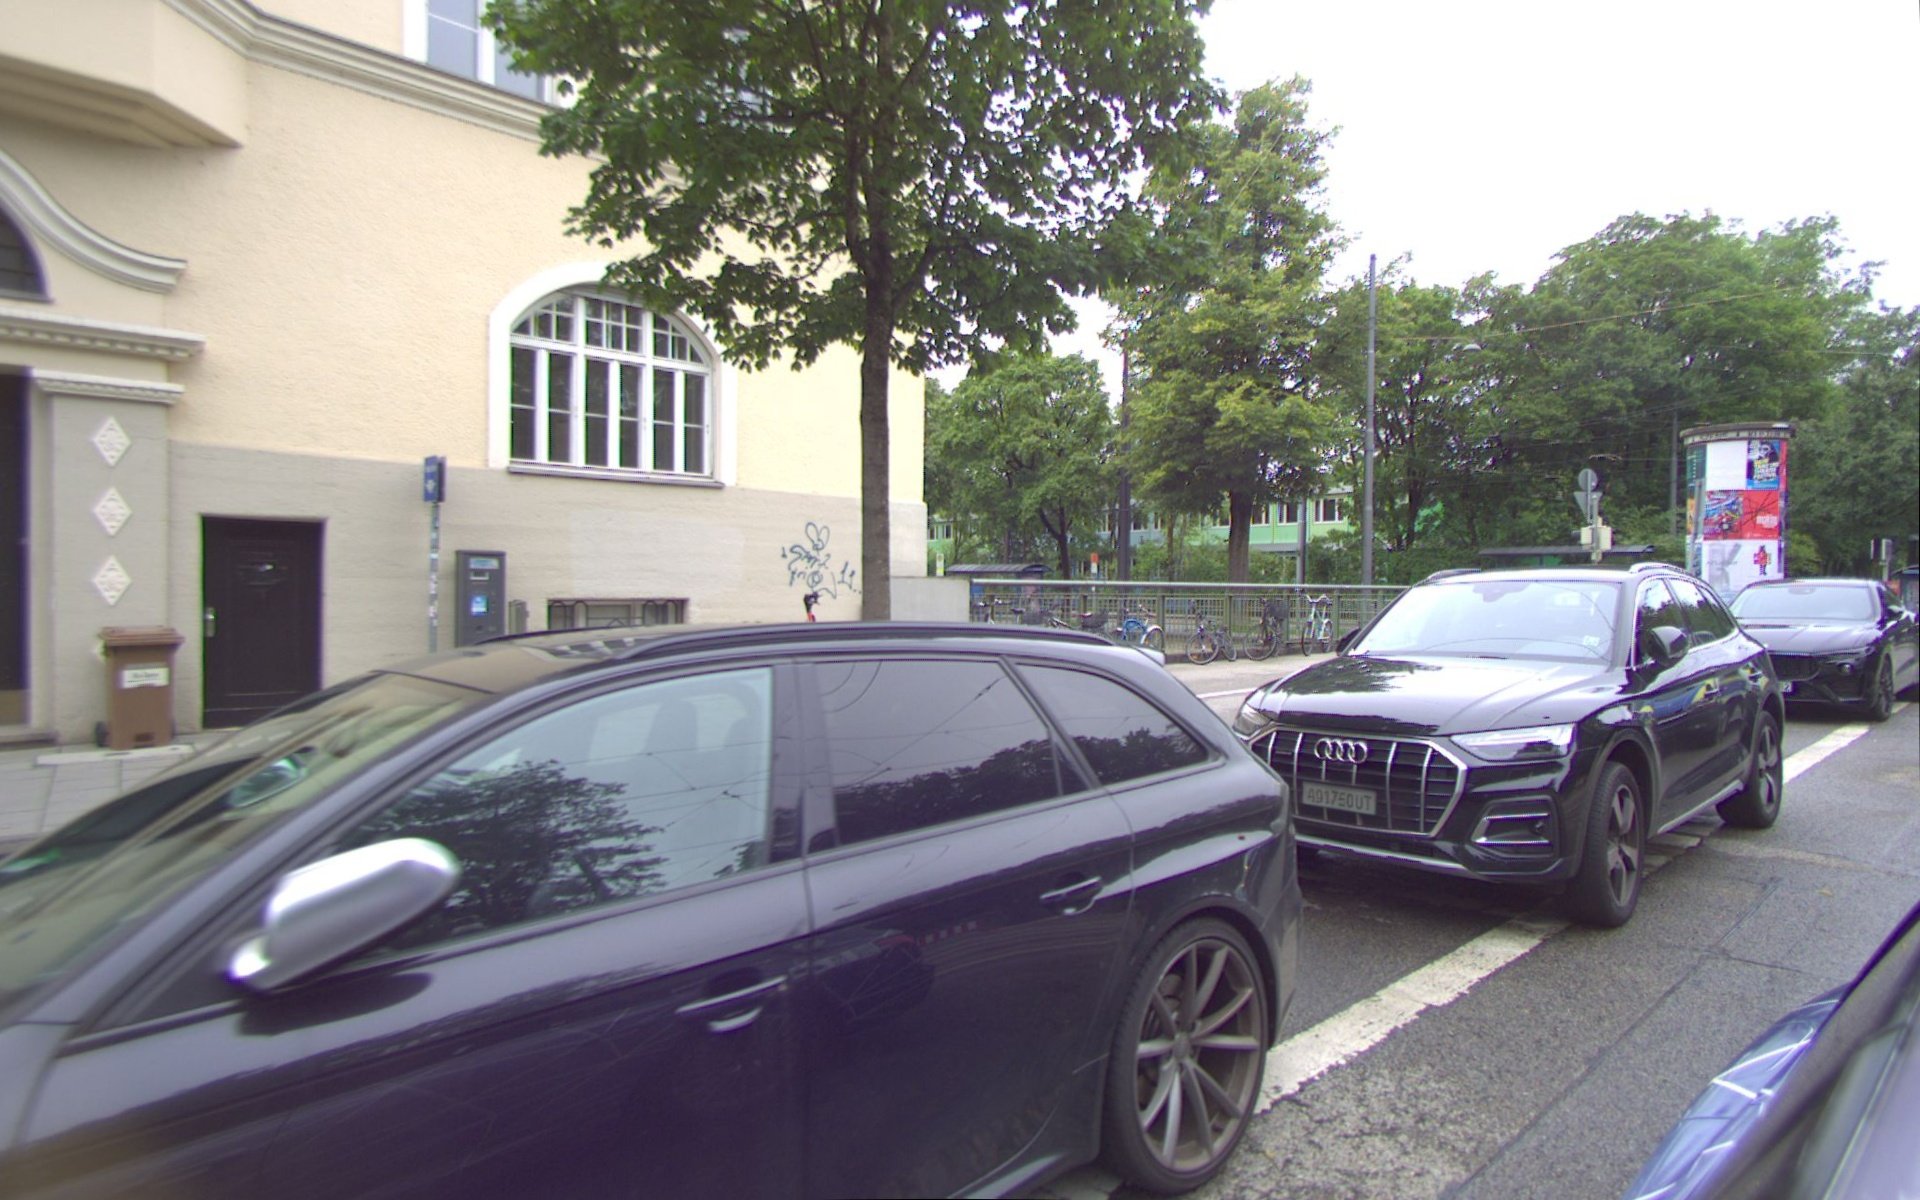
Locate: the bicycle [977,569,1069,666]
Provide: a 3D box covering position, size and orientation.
[{"bbox_3d":[0.918,0.226,14.450,1.511,1.329,0.332,-1,0,-42],"label":"bicycle"}]

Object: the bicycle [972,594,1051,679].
[{"bbox_3d":[0.739,0.486,14.205,0.286,1.120,1.421,0,1,42],"label":"bicycle"}]

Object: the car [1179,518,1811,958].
[{"bbox_3d":[3.389,0.492,5.971,4.408,1.679,1.778,-1,0,-40],"label":"car"}]

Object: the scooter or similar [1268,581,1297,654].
[{"bbox_3d":[5.910,0.307,18.517,0.242,1.279,1.482,-1,0,27],"label":"scooter or similar"}]

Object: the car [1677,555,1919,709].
[{"bbox_3d":[11.004,0.344,12.940,4.582,1.630,1.904,0,-1,-40],"label":"car"}]

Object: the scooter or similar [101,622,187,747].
[{"bbox_3d":[-6.339,0.640,7.864,0.345,0.922,0.417,-1,0,29],"label":"scooter or similar"}]

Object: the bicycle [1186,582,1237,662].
[{"bbox_3d":[4.271,0.350,17.129,0.281,1.298,1.391,-1,0,38],"label":"bicycle"}]

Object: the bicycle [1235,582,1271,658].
[{"bbox_3d":[5.180,0.328,17.871,0.280,1.298,1.395,-1,0,30],"label":"bicycle"}]

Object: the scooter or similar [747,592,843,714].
[{"bbox_3d":[-1.878,0.583,11.613,1.123,1.329,0.261,-1,0,-44],"label":"scooter or similar"}]

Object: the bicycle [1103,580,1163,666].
[{"bbox_3d":[2.722,0.337,15.819,0.281,1.298,1.391,-1,0,38],"label":"bicycle"}]

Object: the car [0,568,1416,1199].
[{"bbox_3d":[-0.795,0.678,2.427,4.522,1.444,1.718,-1,0,-41],"label":"car"}]

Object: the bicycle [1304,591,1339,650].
[{"bbox_3d":[7.058,0.386,19.747,0.263,1.096,1.524,-1,0,34],"label":"bicycle"}]
